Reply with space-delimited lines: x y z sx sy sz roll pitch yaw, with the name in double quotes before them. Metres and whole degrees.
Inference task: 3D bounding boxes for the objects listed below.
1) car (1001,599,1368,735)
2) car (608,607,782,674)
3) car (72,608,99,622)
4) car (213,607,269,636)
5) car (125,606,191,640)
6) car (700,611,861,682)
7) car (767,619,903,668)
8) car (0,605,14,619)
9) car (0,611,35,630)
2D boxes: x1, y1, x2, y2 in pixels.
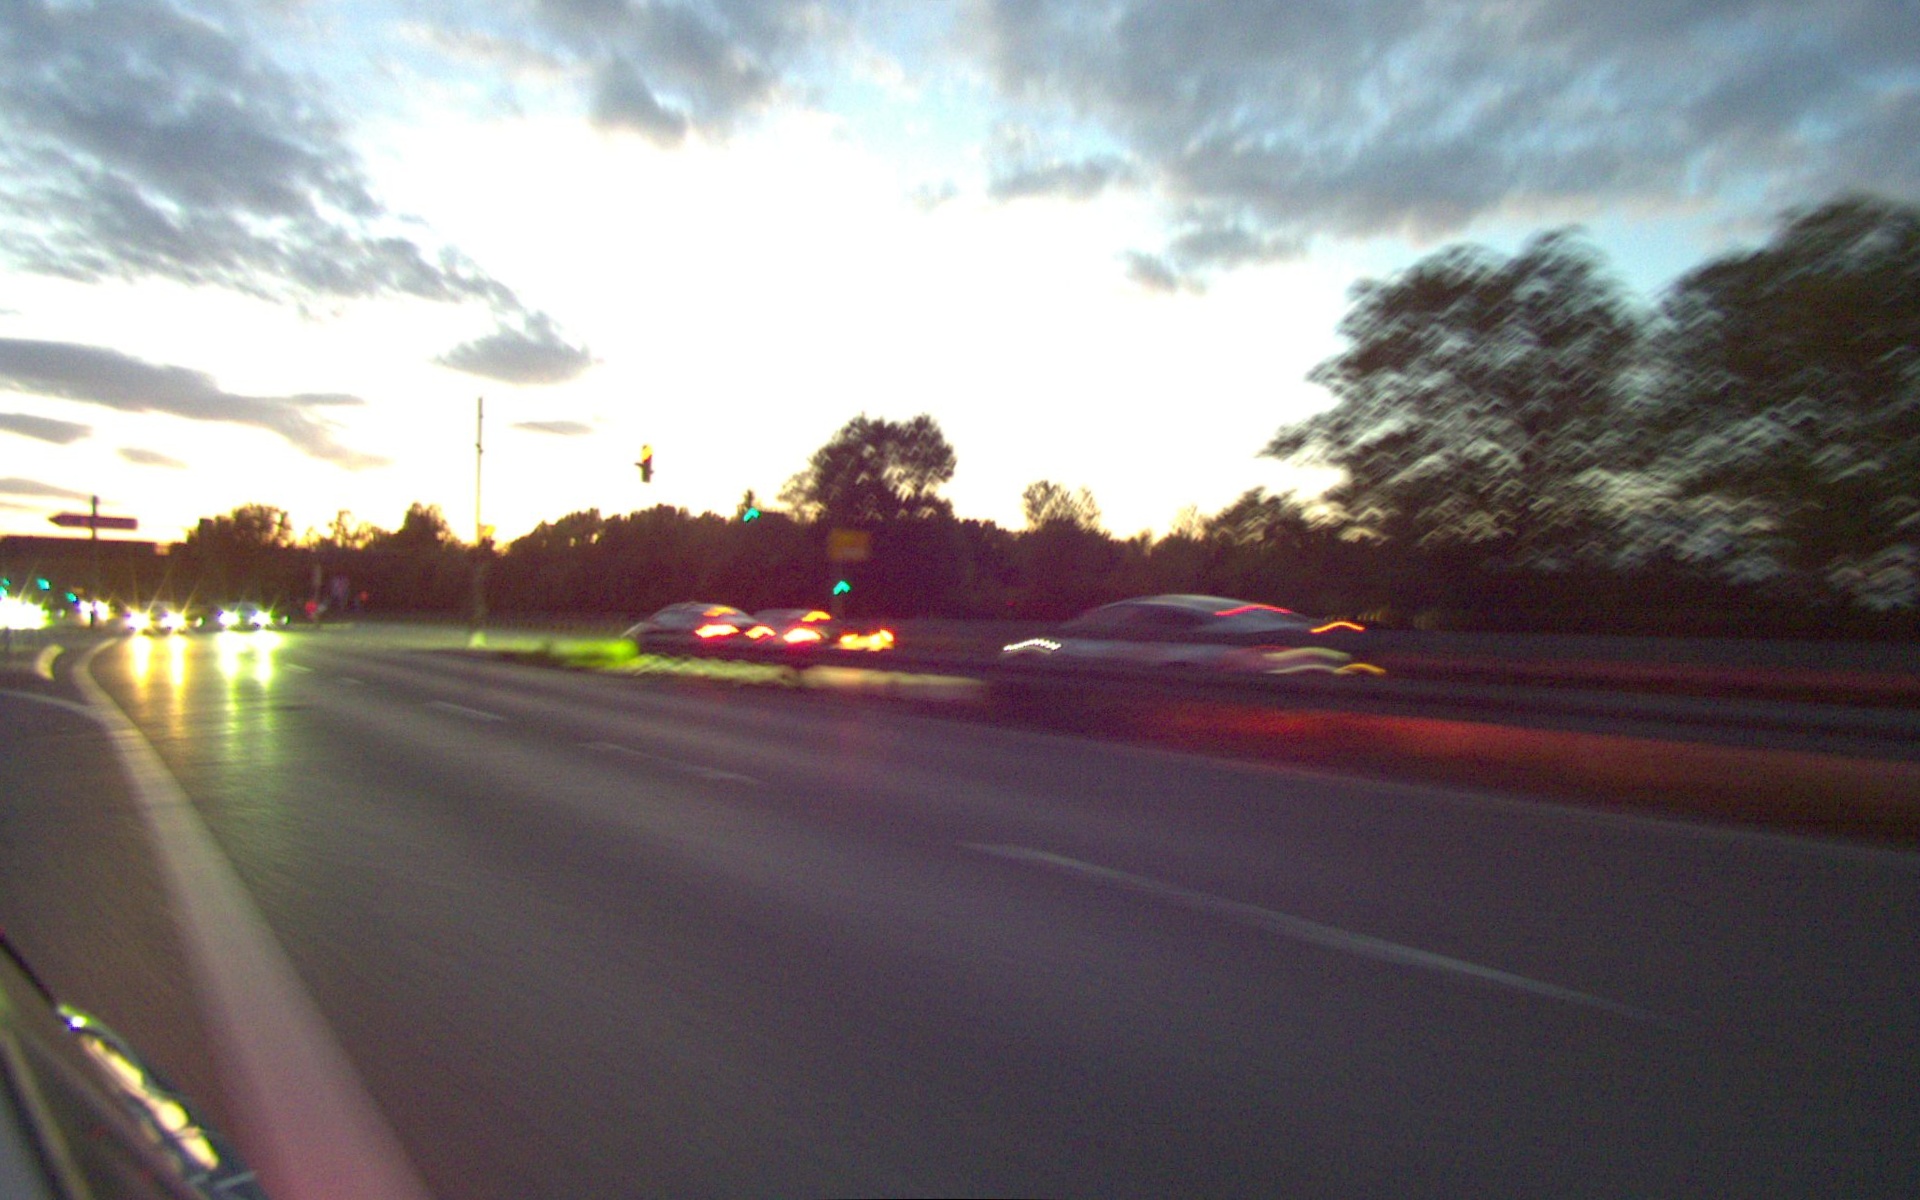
"car" 2.969 0.834 14.295 1.969 1.582 4.829 3 -2 -41
"car" -6.532 0.935 24.559 1.969 1.464 5.054 3 -2 -42
"car" -102.780 1.788 118.983 2.026 1.608 4.009 1 -1 -36
"car" -37.797 1.109 53.162 1.969 1.464 4.741 1 -1 -41
"car" -37.535 1.085 47.329 1.970 1.464 4.003 4 -3 -44
"car" -5.078 1.228 28.135 1.970 1.694 4.877 3 -1 -44
"car" -4.117 1.380 32.761 1.970 1.464 4.739 3 -3 -43
"car" -113.905 1.456 120.025 3.997 1.608 1.973 0 -1 40
"car" -90.726 1.963 97.490 1.976 1.741 4.009 1 -1 -37
